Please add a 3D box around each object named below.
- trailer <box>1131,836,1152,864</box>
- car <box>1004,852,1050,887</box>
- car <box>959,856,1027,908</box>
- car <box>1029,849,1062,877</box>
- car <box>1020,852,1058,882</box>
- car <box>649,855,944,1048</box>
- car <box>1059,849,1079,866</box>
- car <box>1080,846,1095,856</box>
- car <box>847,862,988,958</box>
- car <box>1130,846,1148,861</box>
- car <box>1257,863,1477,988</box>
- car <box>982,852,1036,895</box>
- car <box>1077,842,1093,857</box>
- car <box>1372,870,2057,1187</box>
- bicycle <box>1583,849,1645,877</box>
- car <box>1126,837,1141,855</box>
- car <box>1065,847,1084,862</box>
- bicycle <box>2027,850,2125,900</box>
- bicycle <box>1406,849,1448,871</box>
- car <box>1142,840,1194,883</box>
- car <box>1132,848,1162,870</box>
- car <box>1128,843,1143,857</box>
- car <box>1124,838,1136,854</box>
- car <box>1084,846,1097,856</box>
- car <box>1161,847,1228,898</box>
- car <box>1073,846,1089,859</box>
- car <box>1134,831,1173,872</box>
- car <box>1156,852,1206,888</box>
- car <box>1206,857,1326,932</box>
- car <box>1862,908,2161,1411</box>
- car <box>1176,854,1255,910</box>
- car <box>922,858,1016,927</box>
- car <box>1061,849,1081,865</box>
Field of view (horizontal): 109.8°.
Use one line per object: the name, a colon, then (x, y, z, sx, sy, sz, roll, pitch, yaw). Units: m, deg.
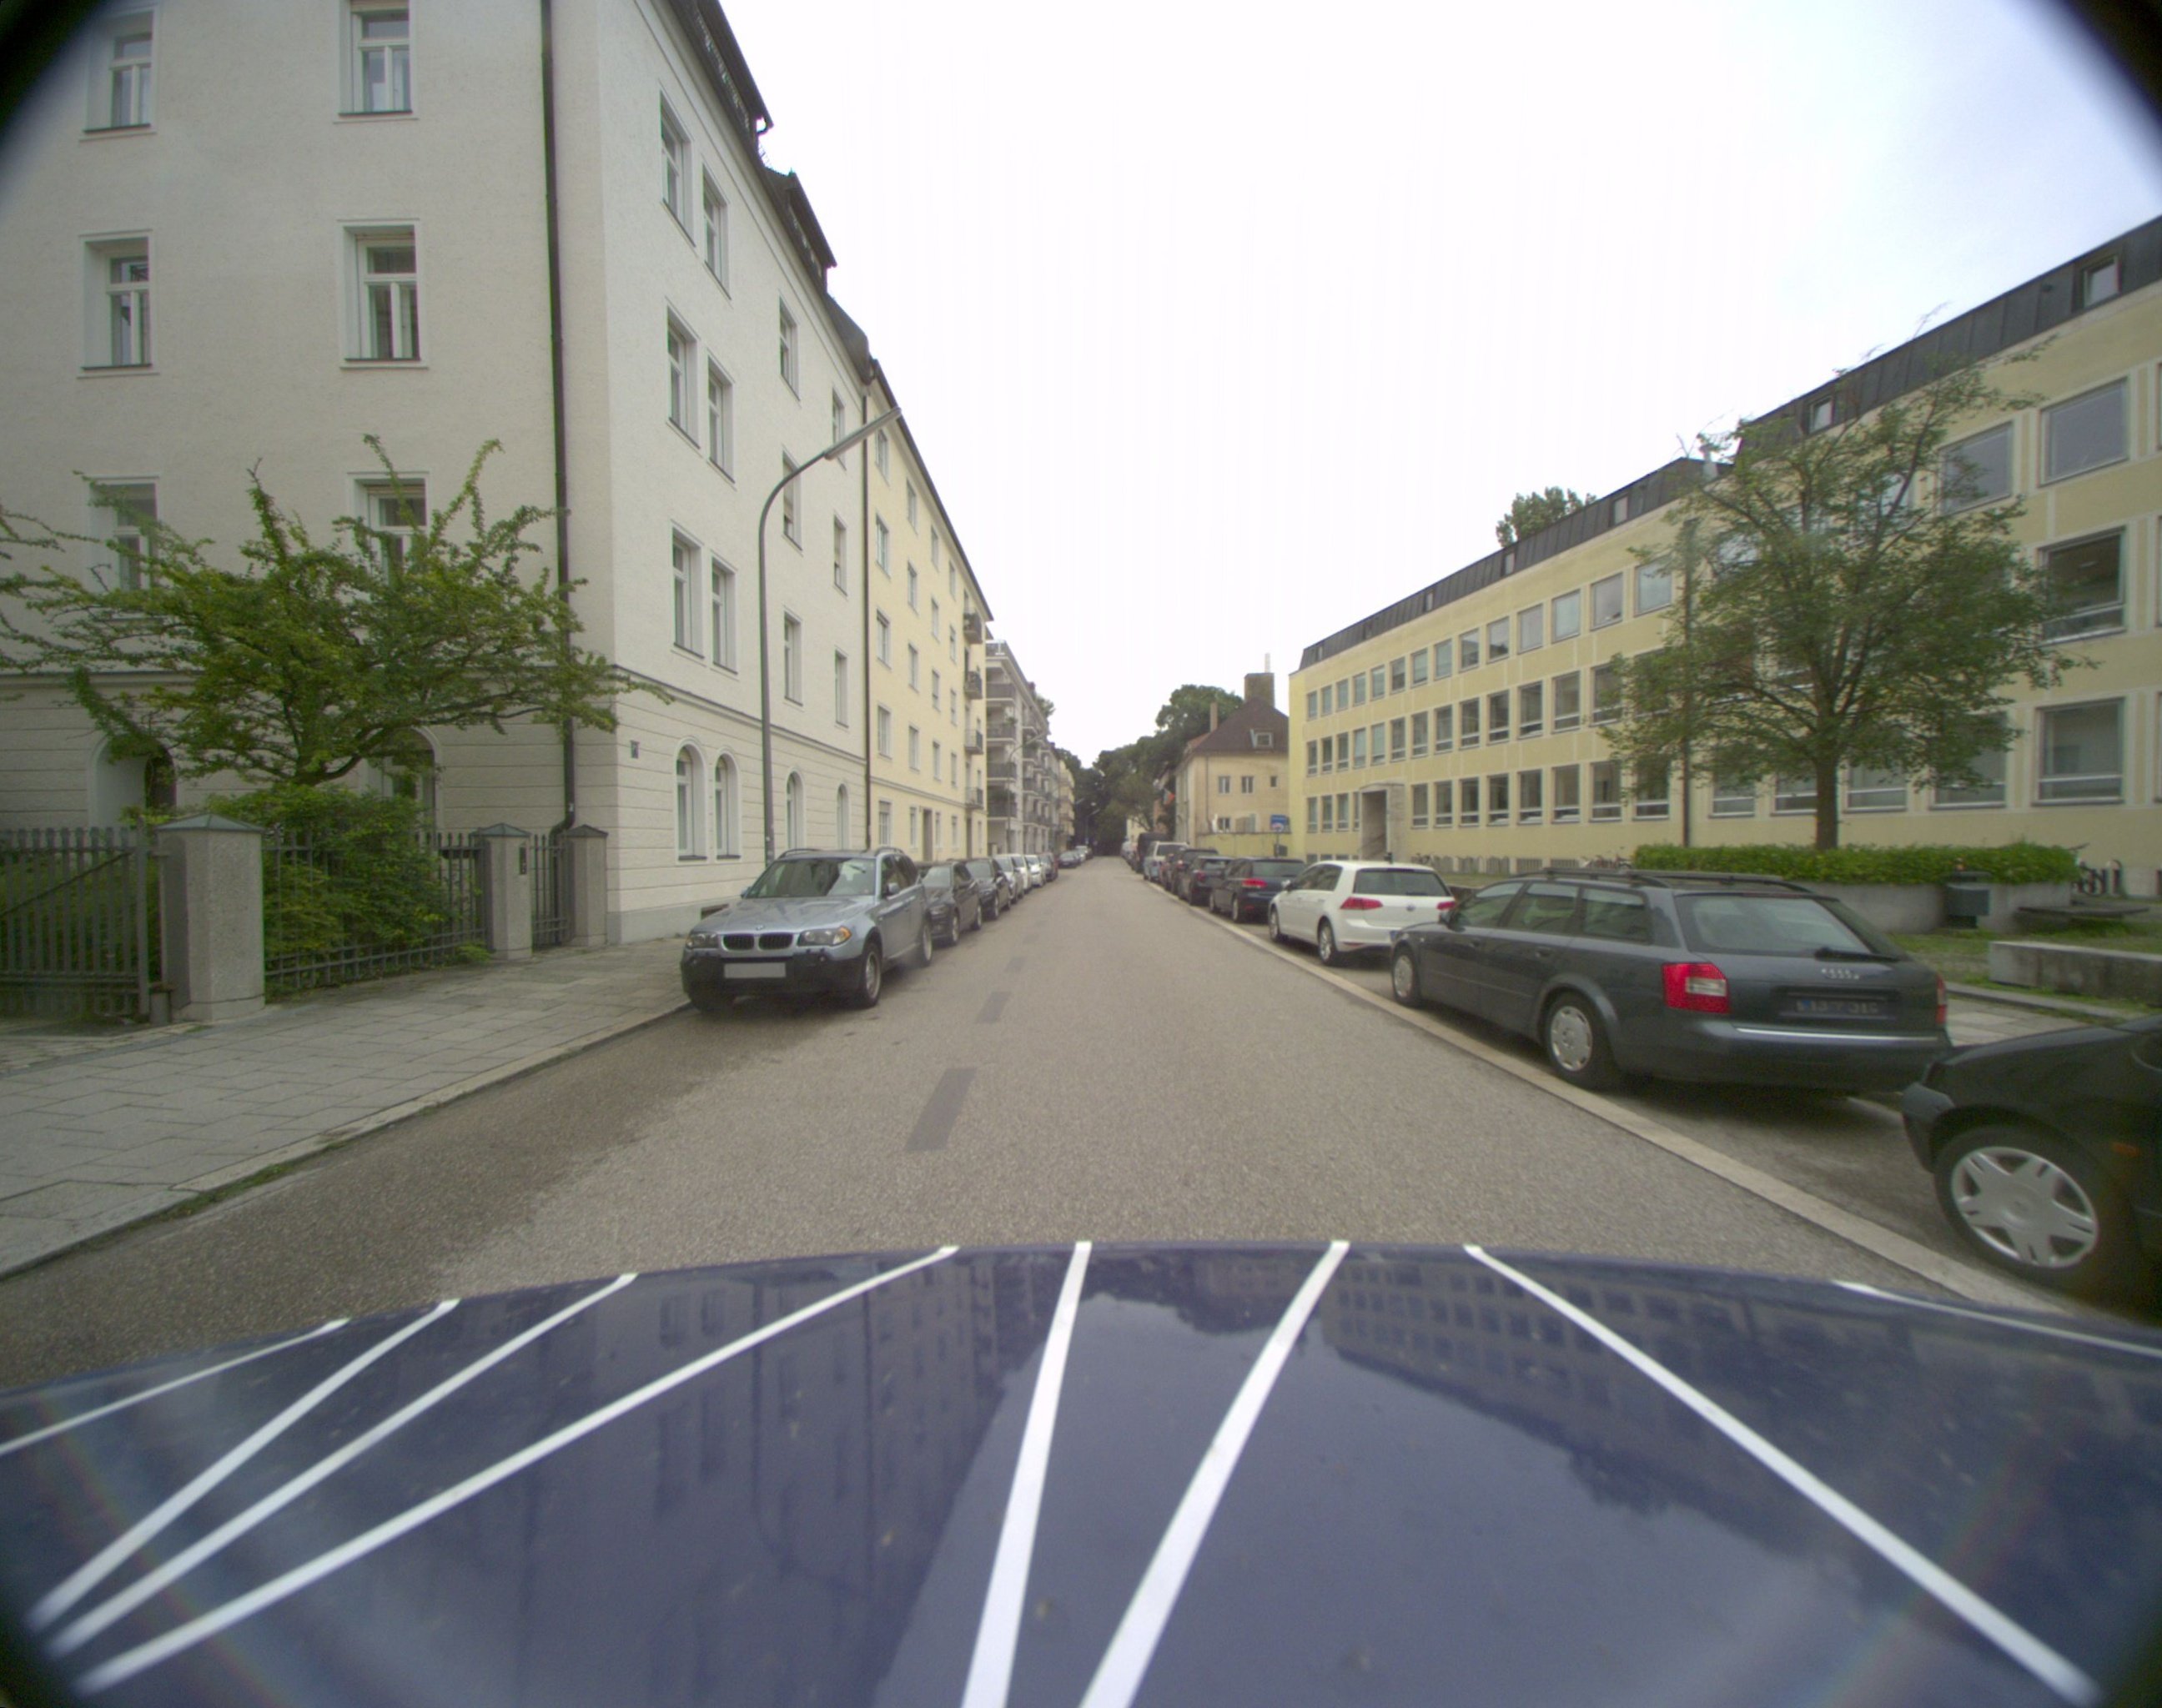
trailer: (5.814, -0.423, 72.688, 1.817, 2.521, 3.390, 3, 2, 7)
car: (-2.391, 0.665, 34.328, 1.683, 1.402, 4.442, -1, 1, 1)
car: (-2.698, 0.820, 24.130, 1.683, 1.419, 4.166, -1, 1, 0)
car: (-2.075, 0.509, 45.022, 1.683, 1.489, 3.823, -1, 1, 1)
car: (-2.134, 0.615, 39.618, 1.683, 1.402, 4.421, -1, 1, 1)
car: (-2.941, 0.876, 9.010, 1.726, 1.625, 4.457, -1, 1, 1)
car: (-1.101, 0.273, 68.373, 1.784, 1.386, 4.245, -1, 1, -1)
car: (0.978, -0.470, 110.584, 1.871, 1.455, 4.268, -1, 1, 3)
car: (-2.866, 0.923, 14.209, 1.683, 1.419, 4.086, -1, 1, 1)
car: (5.948, -0.040, 78.152, 1.767, 1.505, 3.842, 0, 1, 2)
car: (4.041, 0.914, 11.510, 1.661, 1.445, 4.072, 1, 1, -2)
car: (-2.723, 0.712, 29.574, 1.683, 1.473, 4.166, -1, 1, 0)
car: (0.570, -0.695, 104.955, 1.871, 2.002, 4.268, -1, 1, 3)
car: (4.047, 0.933, 6.048, 1.759, 1.445, 4.395, 1, 1, 0)
bicycle: (19.606, 0.317, 27.961, 1.953, 1.008, 0.625, -1, 1, -9)
car: (7.285, -1.097, 105.419, 2.104, 2.418, 4.549, -1, 1, 4)
car: (-0.650, 0.021, 77.861, 1.766, 1.449, 3.747, -1, 1, 1)
bicycle: (21.768, 0.441, 16.625, 1.954, 1.008, 0.624, -1, 1, -16)
bicycle: (17.067, 0.282, 37.523, 1.954, 1.009, 0.580, -2, 1, -16)
car: (4.251, 0.312, 37.999, 1.933, 1.968, 5.021, 0, 1, -1)
car: (4.845, 0.342, 56.185, 1.706, 1.485, 3.488, -1, 1, -3)
car: (6.790, -0.546, 95.224, 1.817, 1.724, 3.649, -1, 1, 2)
car: (7.842, -1.286, 121.844, 1.880, 2.539, 4.370, -1, 1, 3)
car: (1.571, -0.461, 120.718, 1.871, 1.455, 4.268, -1, 1, 3)
car: (4.071, 0.608, 27.930, 1.748, 1.656, 4.448, 3, 1, 1)
car: (-0.008, -0.164, 89.747, 1.766, 1.449, 3.747, -1, 1, 1)
car: (4.786, -0.196, 50.971, 2.302, 2.630, 5.653, 1, 1, 3)
car: (4.318, 0.653, 33.259, 1.748, 1.379, 3.918, -1, 1, 1)
car: (4.068, 0.826, 17.350, 1.661, 1.445, 3.973, 1, 1, -2)
car: (4.118, 0.977, 1.498, 1.661, 1.445, 3.311, 1, 1, -2)
car: (3.908, 0.766, 22.680, 1.684, 1.445, 3.869, 1, 1, 1)
car: (-2.686, 0.876, 19.133, 1.683, 1.419, 4.390, -1, 1, 0)
car: (-0.938, 0.239, 73.207, 1.766, 1.449, 3.417, -1, 1, 1)
